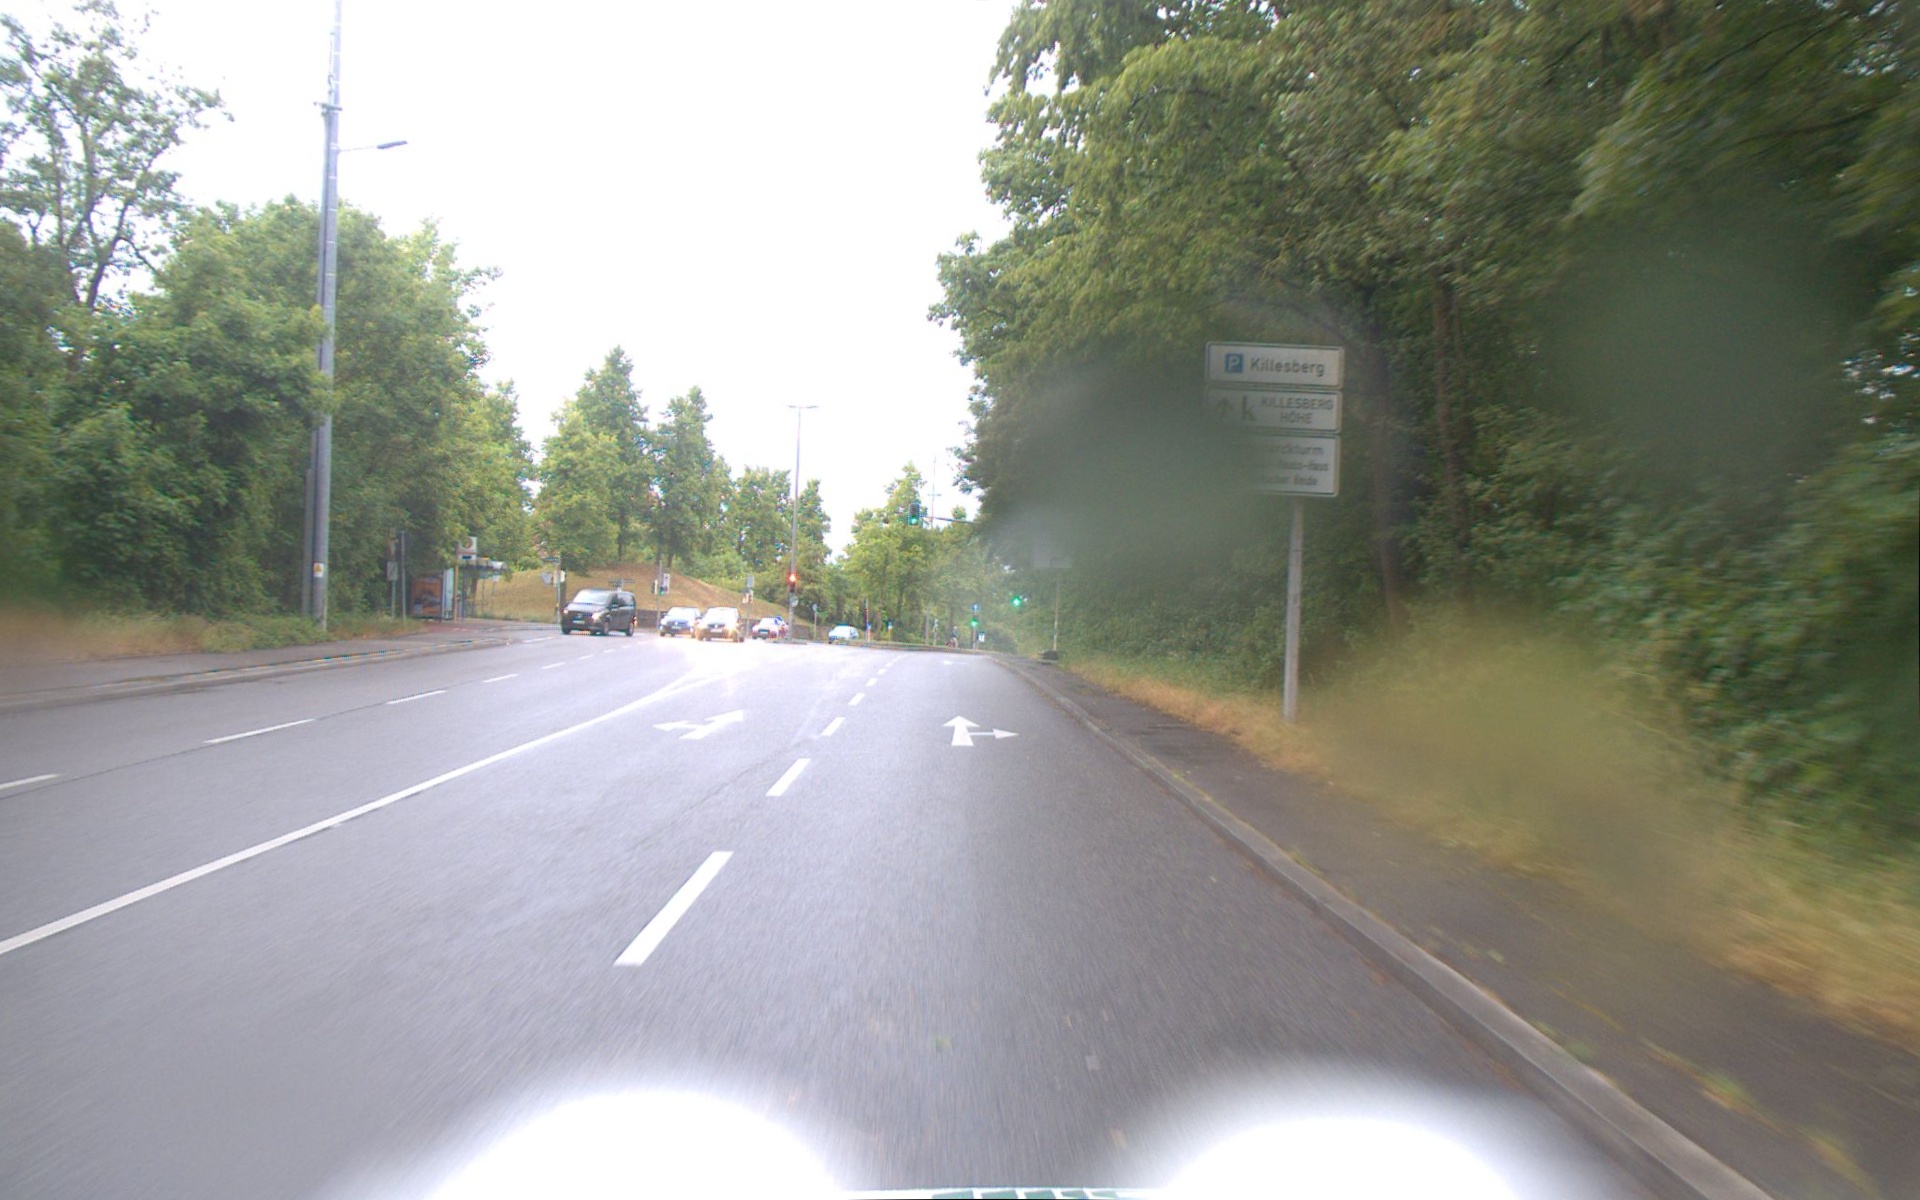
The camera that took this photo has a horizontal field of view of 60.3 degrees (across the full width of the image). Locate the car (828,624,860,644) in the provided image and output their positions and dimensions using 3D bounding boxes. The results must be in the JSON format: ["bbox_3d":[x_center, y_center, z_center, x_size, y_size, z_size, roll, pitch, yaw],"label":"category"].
[{"bbox_3d":[-8.727,2.576,125.033,1.952,1.517,3.938,0,-1,3],"label":"car"}]

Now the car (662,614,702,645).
[{"bbox_3d":[-13.384,1.418,79.798,1.599,1.419,3.995,1,-1,-5],"label":"car"}]

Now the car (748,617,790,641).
[{"bbox_3d":[-12.003,1.804,103.946,1.836,1.398,4.386,2,0,4],"label":"car"}]

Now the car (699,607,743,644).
[{"bbox_3d":[-10.358,1.091,71.852,1.668,1.452,4.073,2,0,-6],"label":"car"}]

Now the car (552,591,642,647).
[{"bbox_3d":[-15.301,0.831,70.025,2.058,1.980,5.162,3,-3,6],"label":"car"}]

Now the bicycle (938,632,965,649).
[{"bbox_3d":[-0.626,3.001,122.517,2.123,1.163,0.545,6,-3,-43],"label":"bicycle"}]

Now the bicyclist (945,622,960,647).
[{"bbox_3d":[-0.534,2.576,122.862,0.795,1.783,0.714,7,-7,-43],"label":"bicyclist"}]
